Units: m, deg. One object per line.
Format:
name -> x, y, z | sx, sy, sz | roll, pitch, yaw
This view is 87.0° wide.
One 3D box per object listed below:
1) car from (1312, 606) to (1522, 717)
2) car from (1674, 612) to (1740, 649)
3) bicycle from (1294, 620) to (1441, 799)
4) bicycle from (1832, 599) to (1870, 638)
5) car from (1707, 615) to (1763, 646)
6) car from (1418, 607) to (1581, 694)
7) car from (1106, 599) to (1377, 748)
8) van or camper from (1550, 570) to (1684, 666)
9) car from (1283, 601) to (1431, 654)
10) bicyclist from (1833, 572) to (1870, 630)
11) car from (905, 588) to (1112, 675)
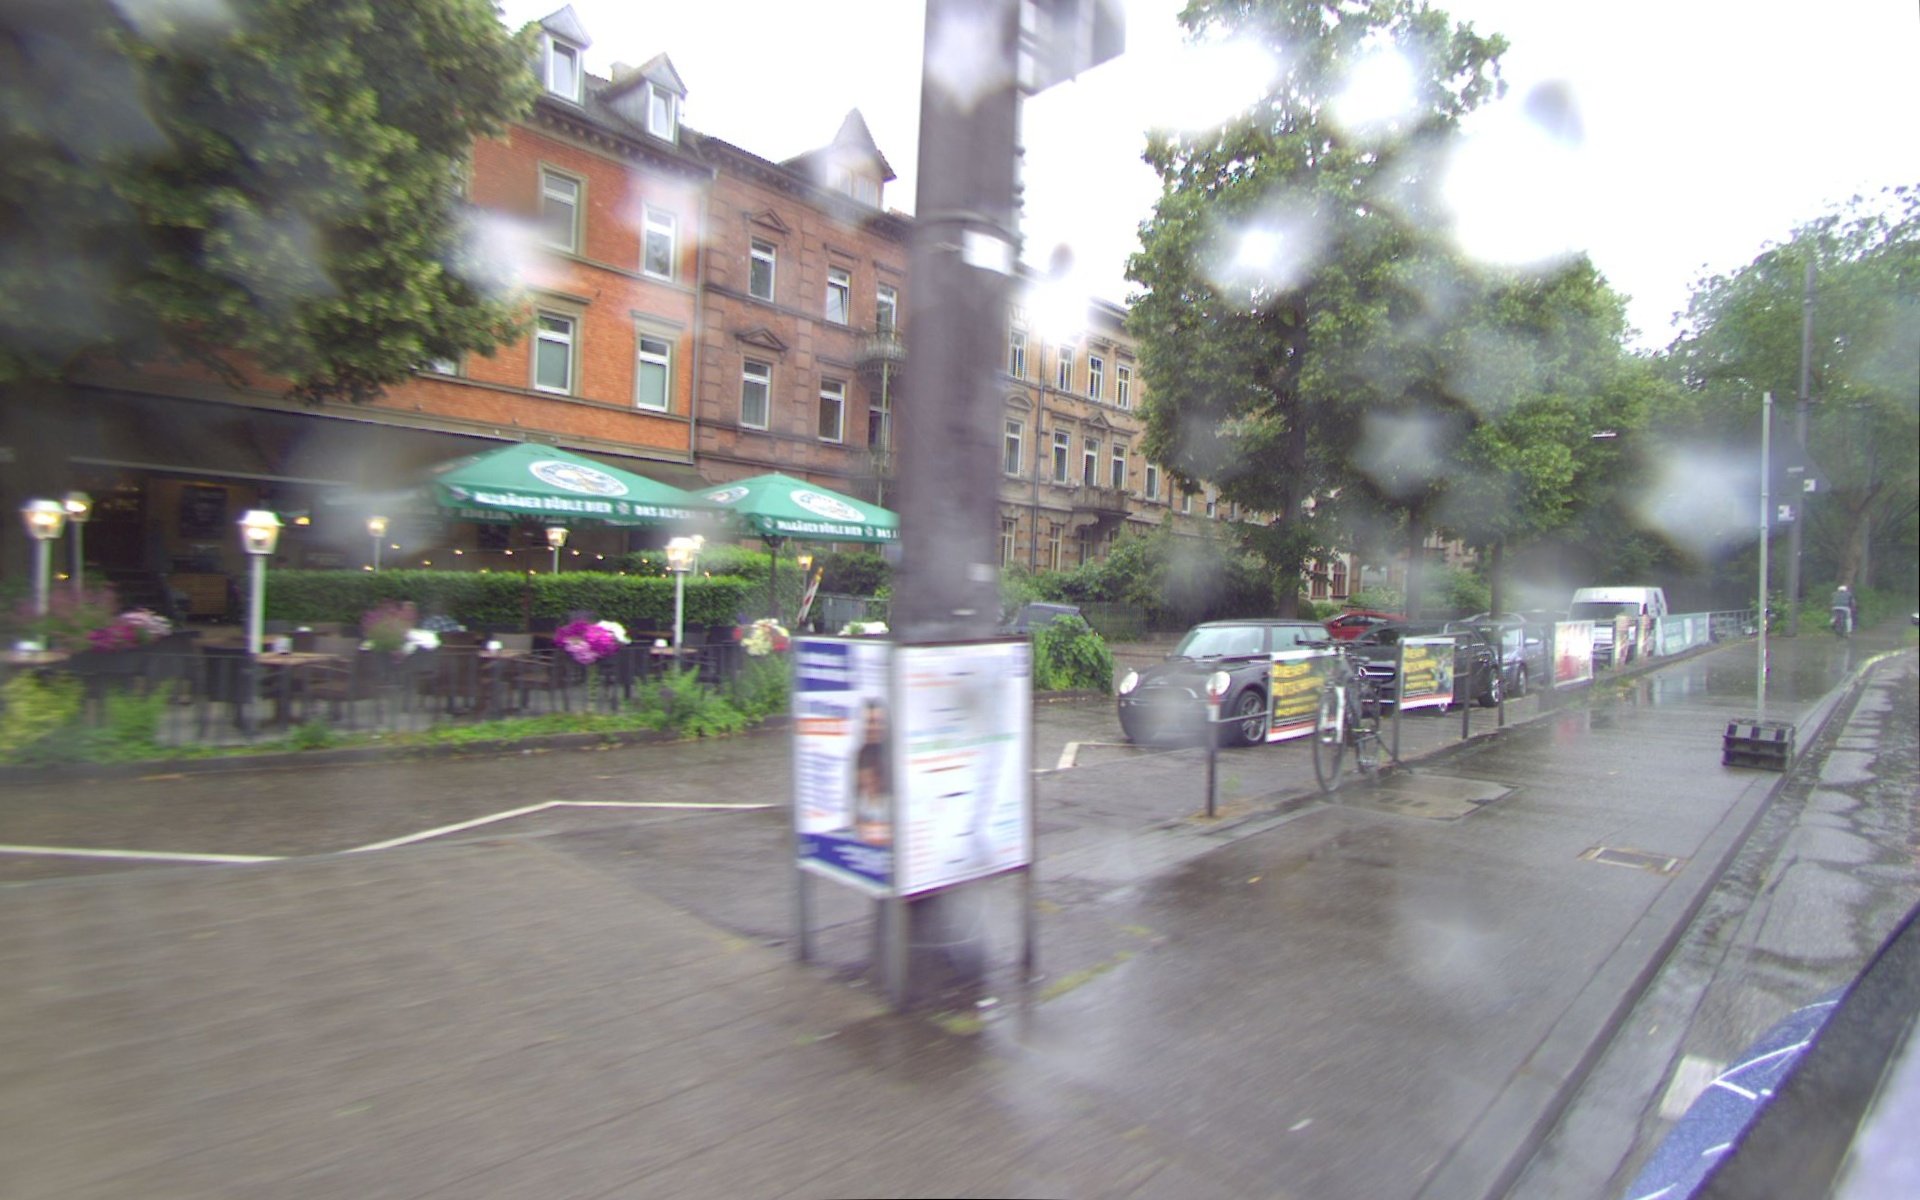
car -> 7.400, 0.888, 16.174 | 1.746, 1.482, 4.148 | 2, 0, 44
car -> 31.242, 1.239, 42.282 | 1.700, 1.389, 3.936 | 1, 0, 44
bicycle -> 3.065, 0.742, 7.526 | 0.422, 1.183, 1.765 | -1, -1, 43
bicycle -> 26.492, 0.547, 30.103 | 0.737, 1.086, 1.839 | 3, 1, 40
car -> 39.213, 1.521, 51.168 | 1.805, 1.473, 3.936 | 2, 1, 44
car -> 10.710, 0.925, 19.956 | 1.728, 1.488, 4.148 | 2, 0, 45
car -> 3.517, 0.789, 12.341 | 3.457, 1.519, 1.648 | 1, 0, -44
van or camper -> 20.057, 0.512, 30.734 | 2.327, 2.623, 6.000 | 2, 1, 43
car -> 12.864, 0.866, 33.005 | 4.222, 1.488, 1.703 | 2, 0, 13
bicyclist -> 26.509, 0.028, 30.116 | 0.735, 1.676, 0.865 | 3, 1, 40
car -> 1.011, 0.592, 20.247 | 3.933, 1.527, 1.856 | 2, 0, 8
